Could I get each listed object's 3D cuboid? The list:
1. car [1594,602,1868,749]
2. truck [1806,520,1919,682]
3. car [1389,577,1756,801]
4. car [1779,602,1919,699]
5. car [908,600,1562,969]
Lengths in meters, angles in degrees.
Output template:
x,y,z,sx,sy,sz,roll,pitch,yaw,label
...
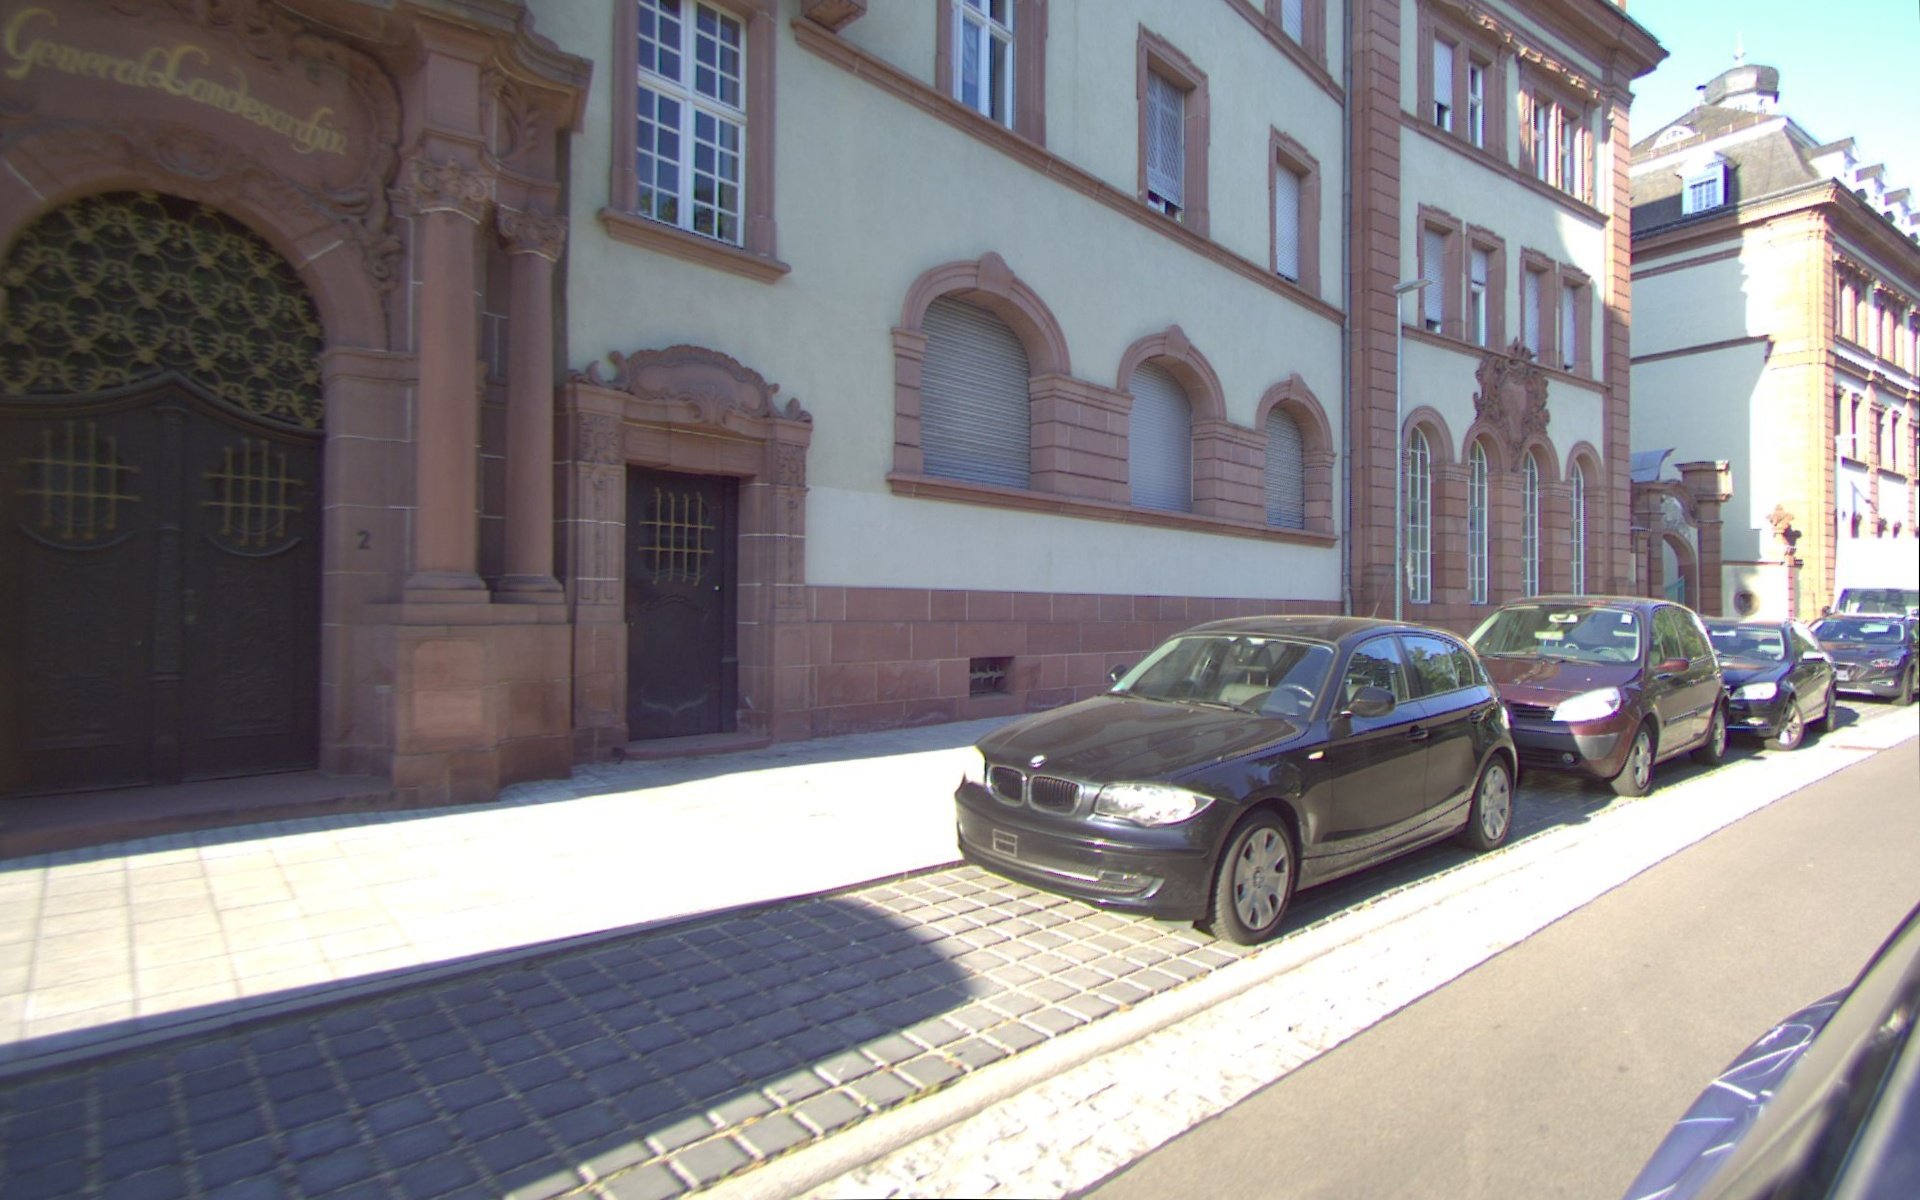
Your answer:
x,y,z,sx,sy,sz,roll,pitch,yaw,label
9.794,0.806,12.722,4.443,1.454,1.875,1,2,-41,car
20.857,0.037,21.958,5.977,3.159,2.630,1,2,-39,truck
5.886,0.660,9.519,4.120,1.622,1.819,1,1,-42,car
16.583,0.821,18.250,4.486,1.550,1.773,1,-1,-37,car
1.847,0.748,5.972,4.125,1.420,1.682,1,0,-40,car
